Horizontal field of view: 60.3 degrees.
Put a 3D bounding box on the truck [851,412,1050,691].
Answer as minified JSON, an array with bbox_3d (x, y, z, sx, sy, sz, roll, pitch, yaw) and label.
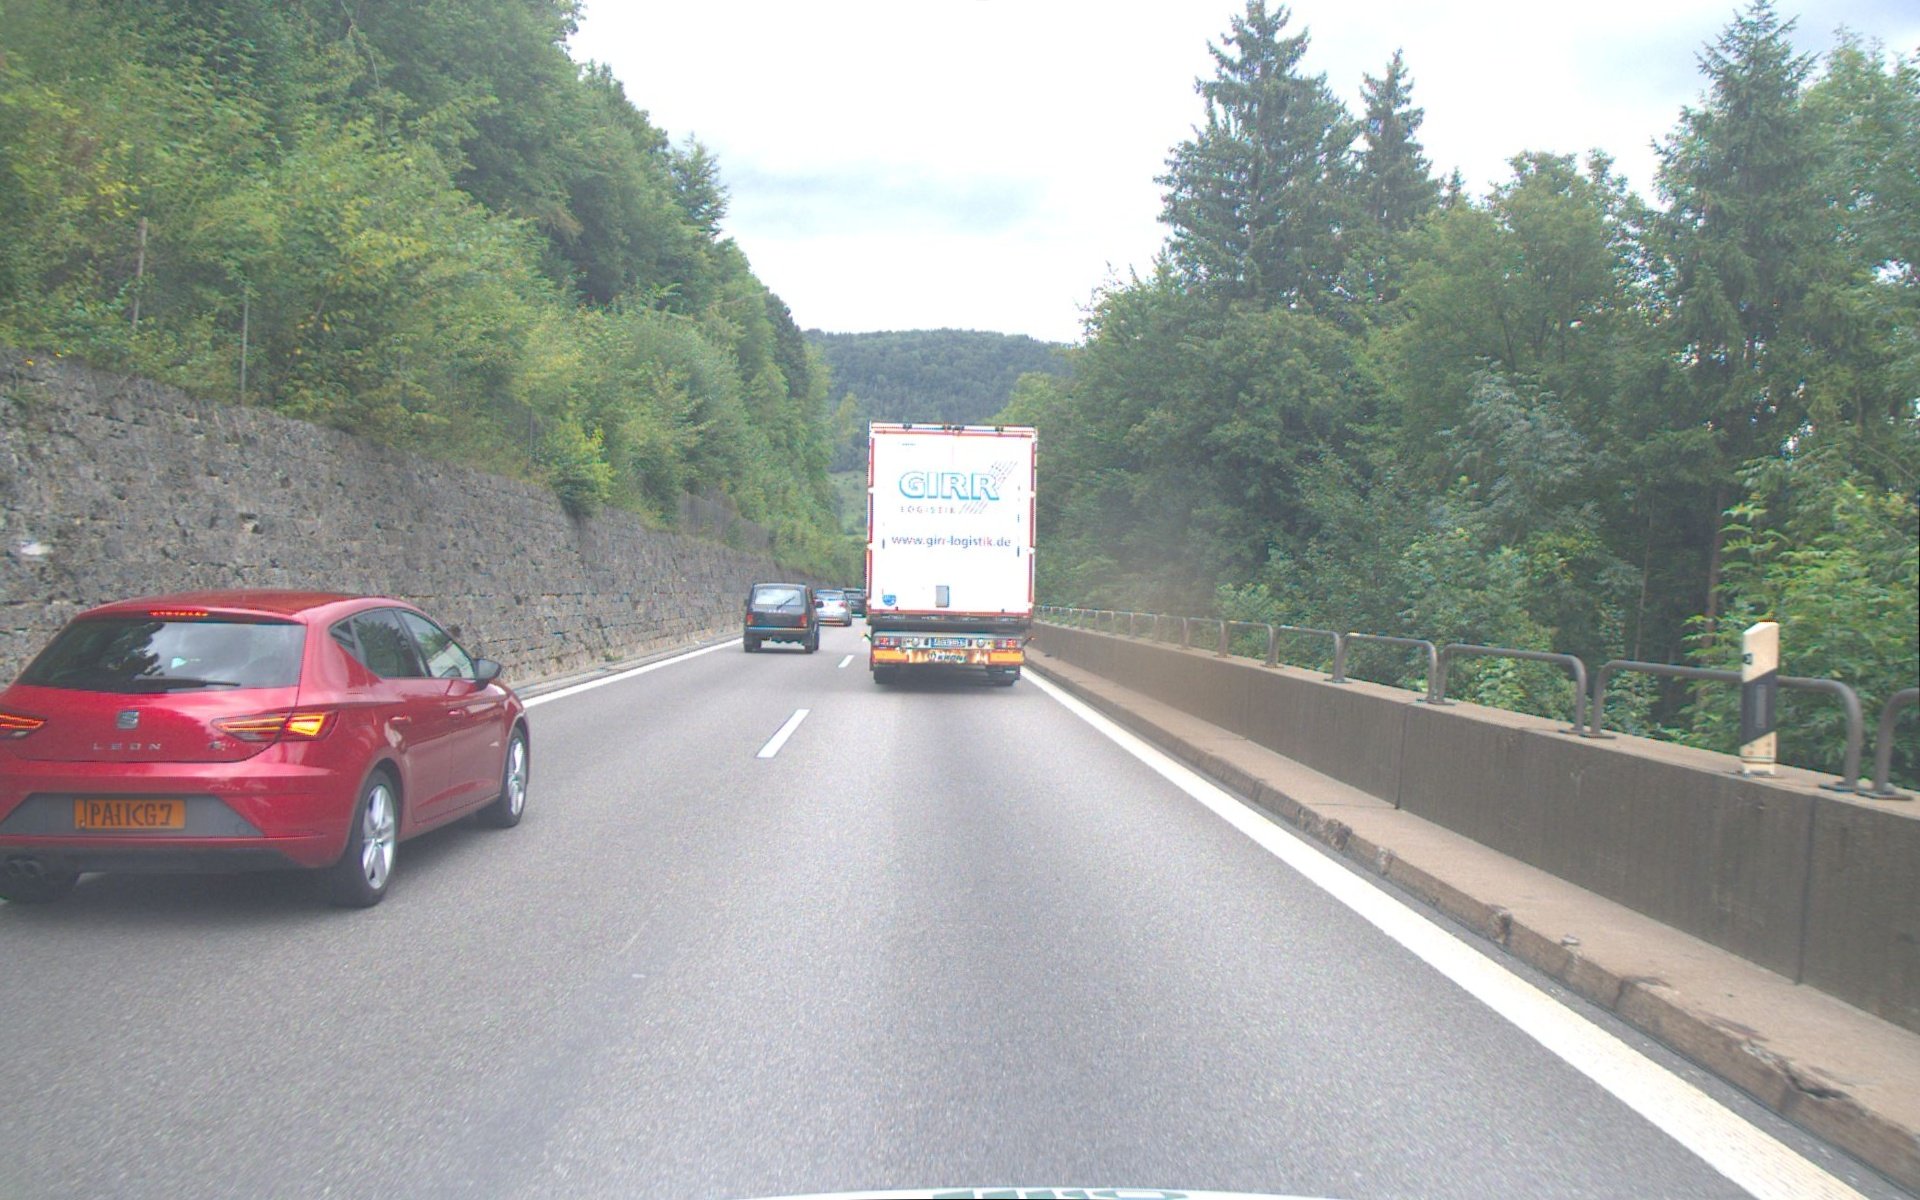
[{"bbox_3d":[-0.212,-0.704,28.883,2.850,4.030,9.276,1,0,-1],"label":"truck"}]

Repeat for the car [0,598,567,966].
[{"bbox_3d":[-3.494,0.754,8.956,1.730,1.485,4.410,1,0,-1],"label":"car"}]

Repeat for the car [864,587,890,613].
[{"bbox_3d":[-6.751,0.007,135.014,1.953,2.049,3.999,1,-1,0],"label":"car"}]

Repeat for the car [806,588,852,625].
[{"bbox_3d":[-5.481,0.281,69.647,1.694,1.512,3.998,1,0,-2],"label":"car"}]

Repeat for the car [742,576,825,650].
[{"bbox_3d":[-4.238,0.312,40.194,1.635,1.667,4.067,1,0,-1],"label":"car"}]

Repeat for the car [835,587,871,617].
[{"bbox_3d":[-6.110,0.136,94.642,1.878,1.623,4.177,1,0,-2],"label":"car"}]
